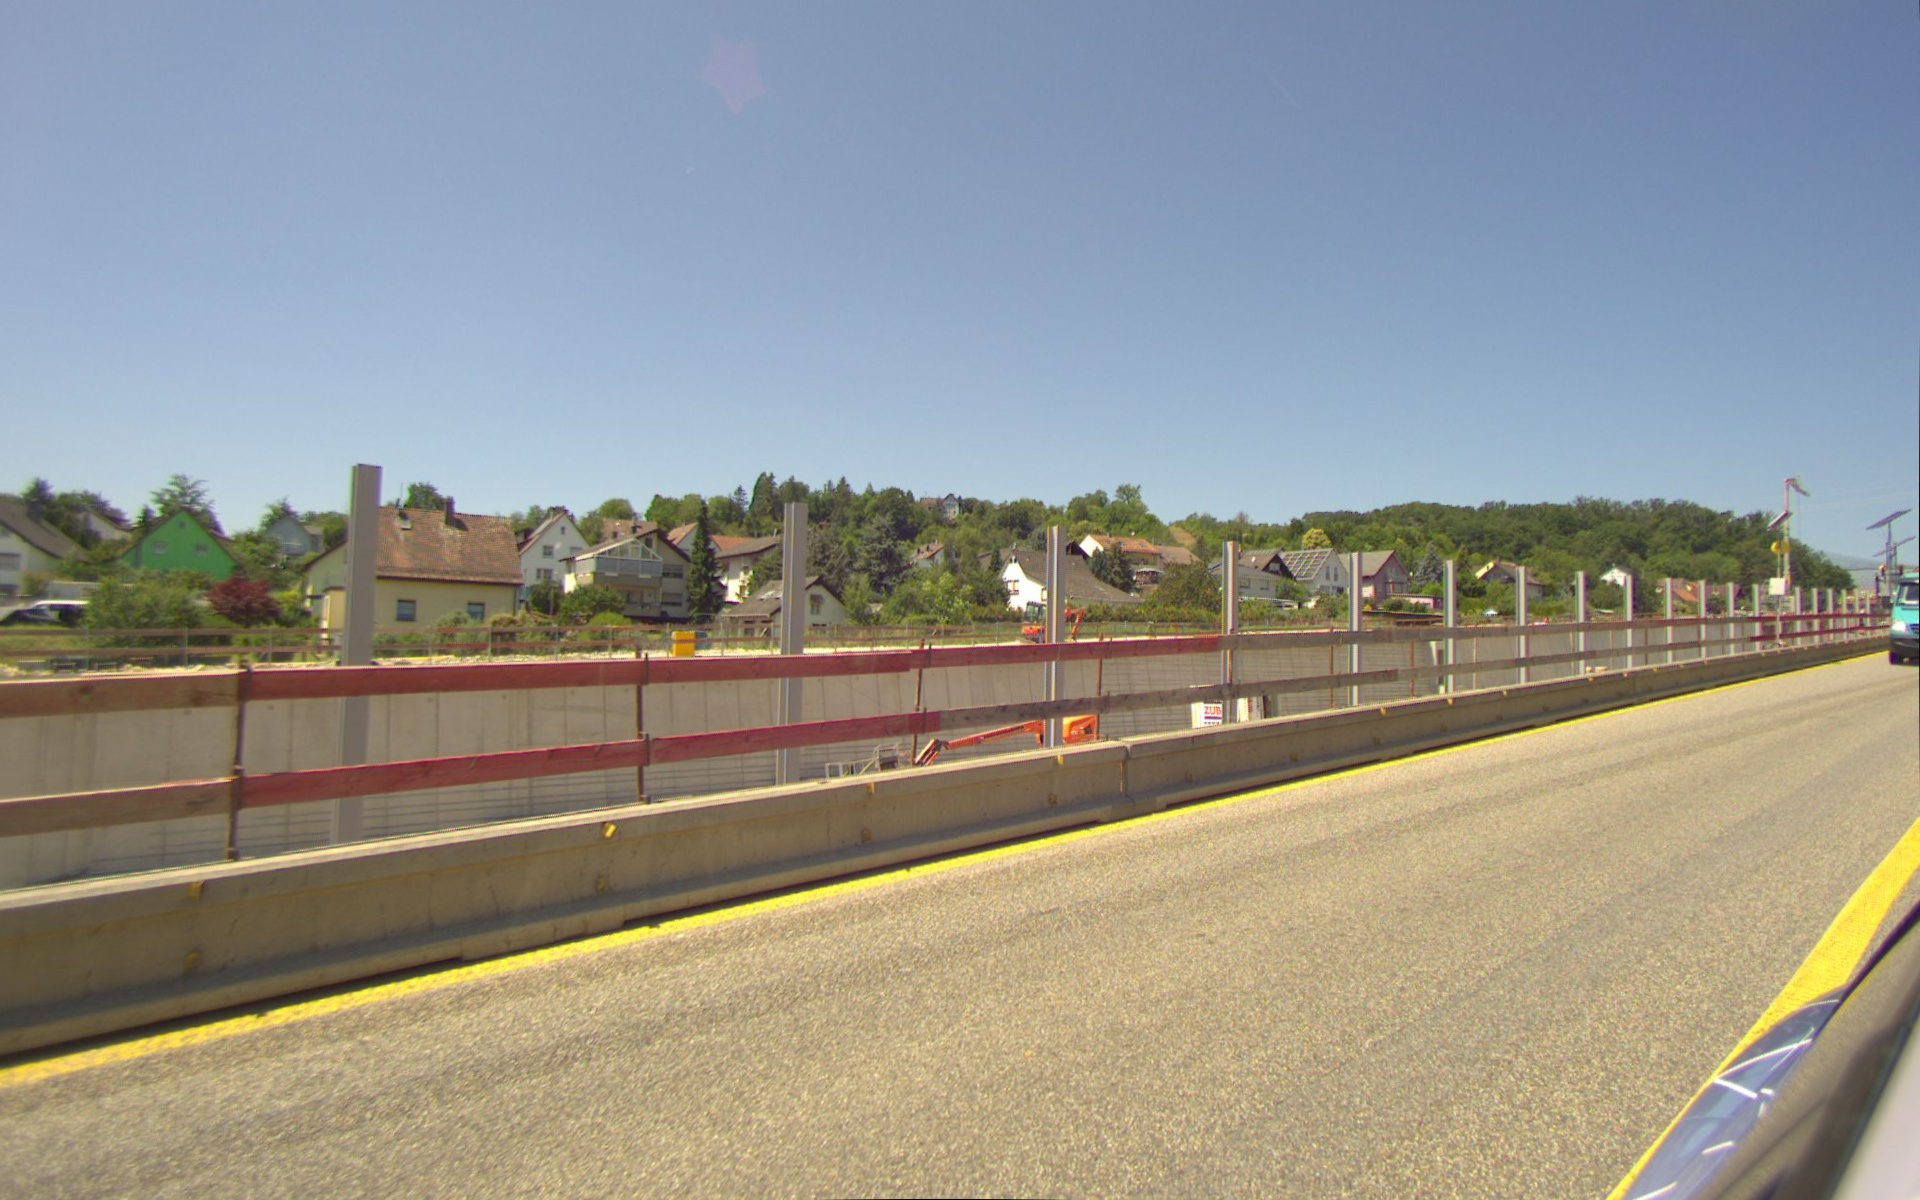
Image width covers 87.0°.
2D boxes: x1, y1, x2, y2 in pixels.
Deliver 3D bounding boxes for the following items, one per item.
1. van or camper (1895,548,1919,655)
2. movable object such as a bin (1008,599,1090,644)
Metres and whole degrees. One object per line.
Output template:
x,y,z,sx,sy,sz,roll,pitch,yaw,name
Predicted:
25.603,0.079,25.588,7.536,2.504,2.096,1,-1,-41,van or camper
4.697,1.079,53.180,4.078,2.267,1.997,0,-1,-40,movable object such as a bin
